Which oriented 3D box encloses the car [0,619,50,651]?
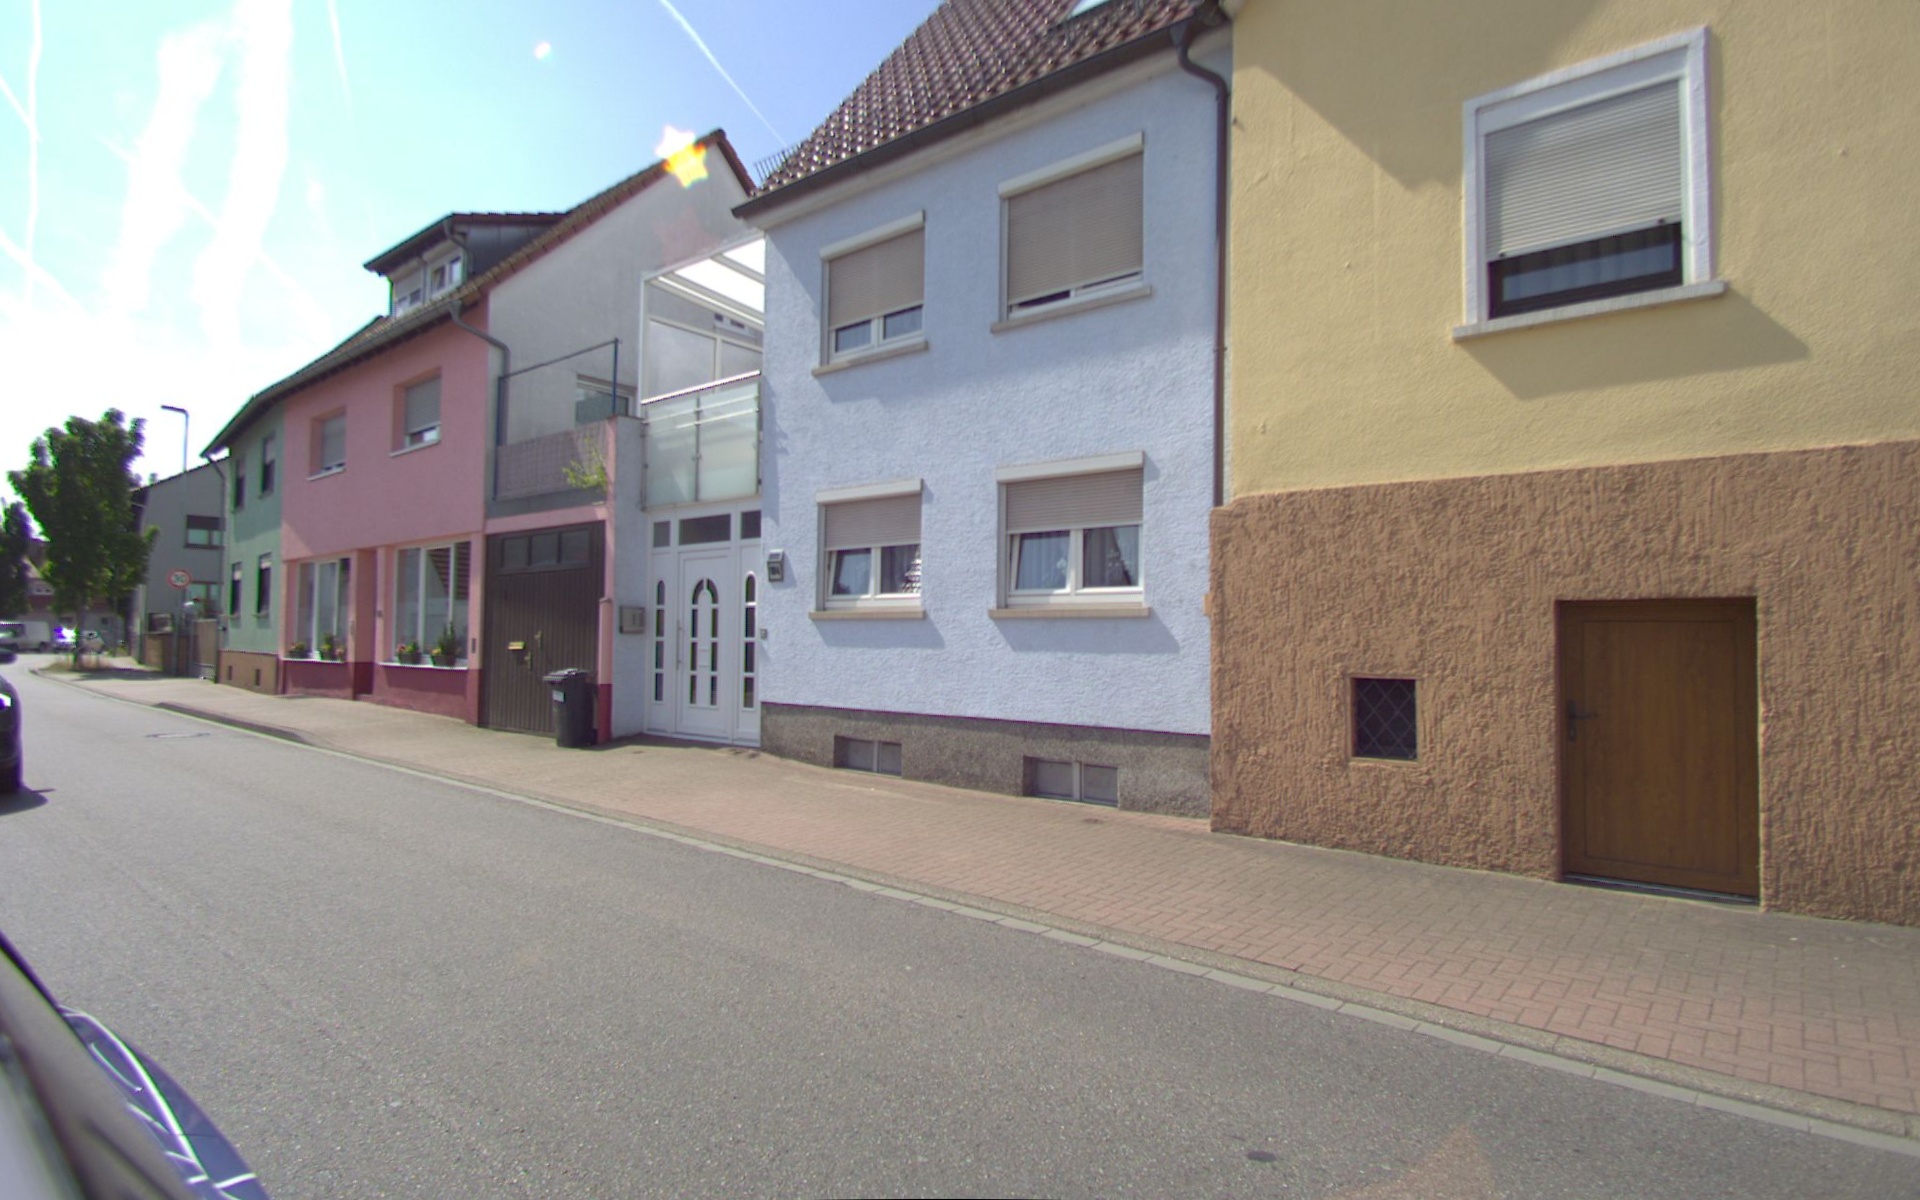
[{"bbox_3d":[-58.678,2.137,62.605,1.916,1.866,4.524,-1,0,-19],"label":"car"}]

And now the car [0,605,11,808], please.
[{"bbox_3d":[-9.599,0.871,8.753,4.289,1.585,1.714,-1,-1,42],"label":"car"}]

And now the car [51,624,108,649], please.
[{"bbox_3d":[-56.207,2.291,64.681,1.493,1.419,3.601,-1,0,-19],"label":"car"}]

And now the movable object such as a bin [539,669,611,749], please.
[{"bbox_3d":[-4.725,1.322,12.415,0.599,0.886,0.623,-1,0,42],"label":"movable object such as a bin"}]
